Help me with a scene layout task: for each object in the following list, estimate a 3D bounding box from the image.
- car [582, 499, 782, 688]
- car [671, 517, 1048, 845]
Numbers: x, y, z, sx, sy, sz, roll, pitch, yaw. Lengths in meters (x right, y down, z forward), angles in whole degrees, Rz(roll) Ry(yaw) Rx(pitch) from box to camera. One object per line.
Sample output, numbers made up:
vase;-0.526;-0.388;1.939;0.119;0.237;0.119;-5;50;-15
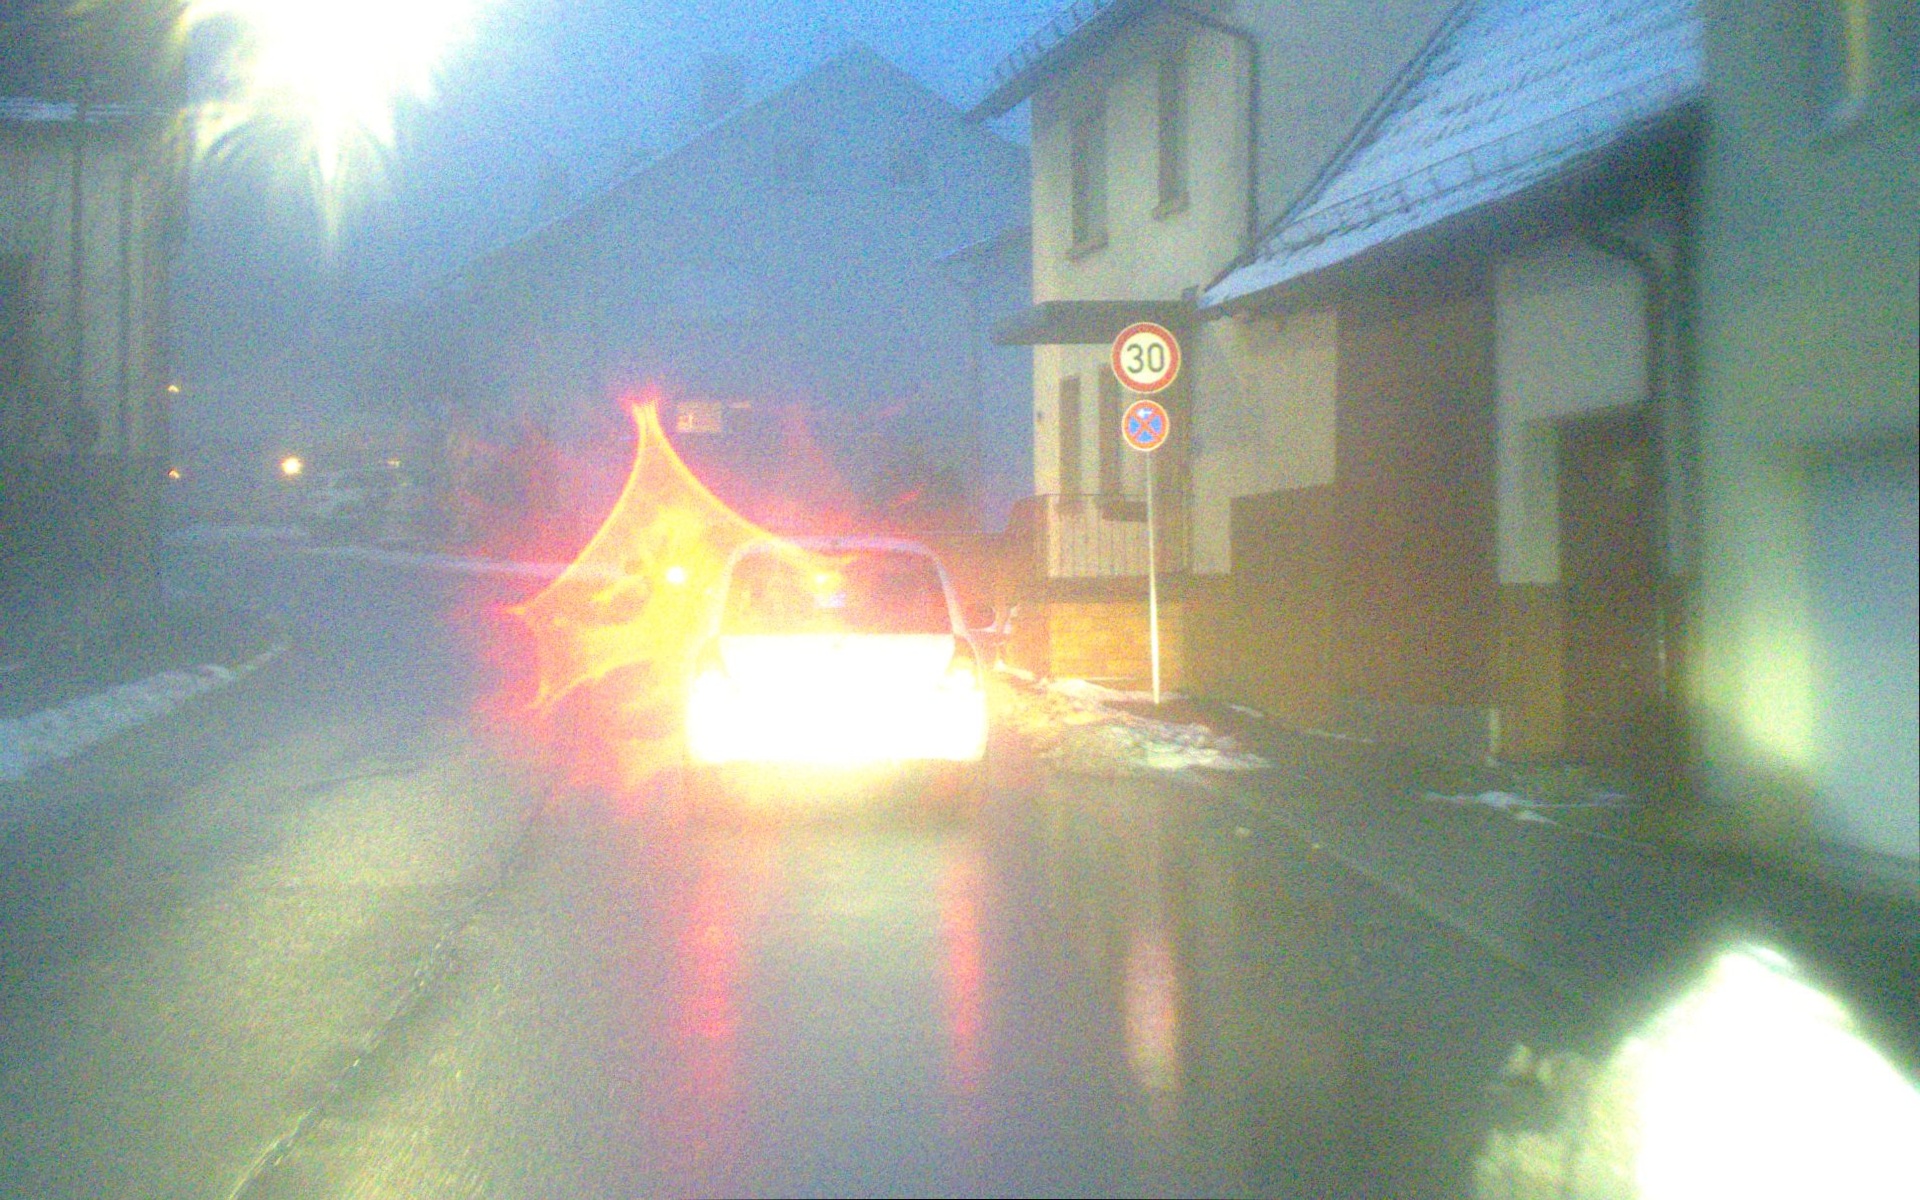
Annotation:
car;-2.614;-0.051;31.668;1.645;1.590;3.700;2;0;-7
car;-0.649;0.408;18.992;1.645;1.590;3.700;2;0;-8
